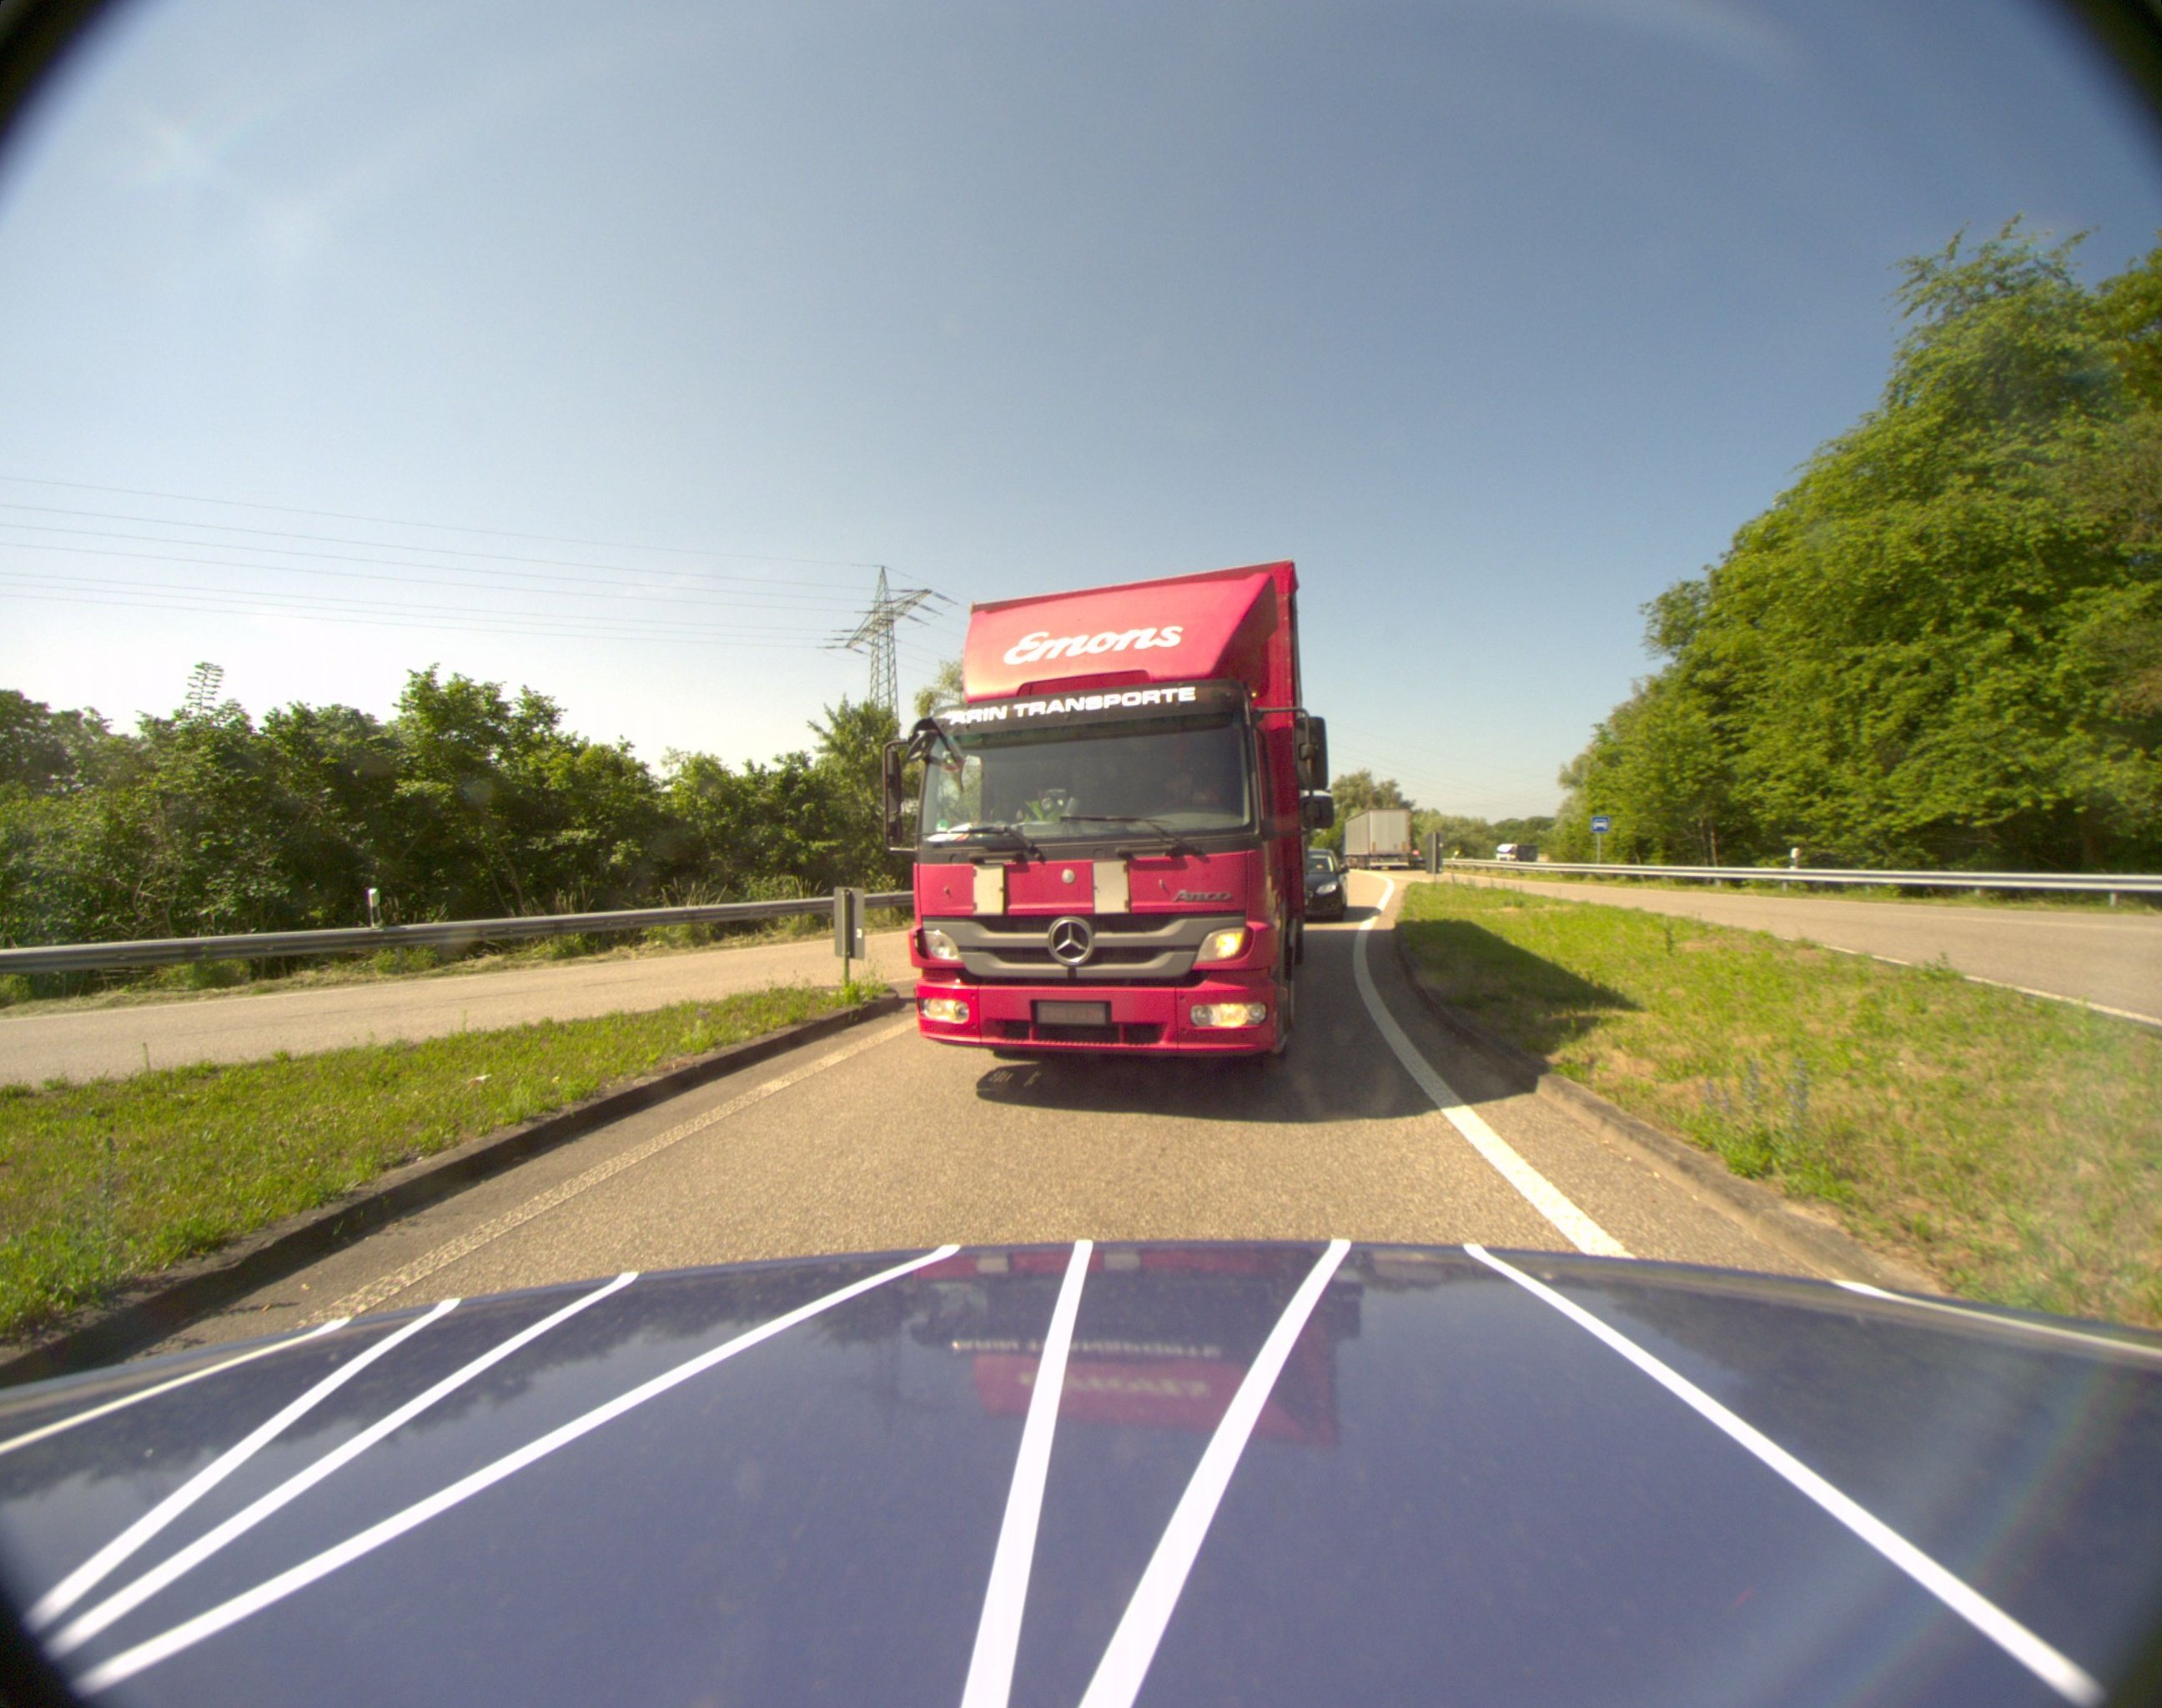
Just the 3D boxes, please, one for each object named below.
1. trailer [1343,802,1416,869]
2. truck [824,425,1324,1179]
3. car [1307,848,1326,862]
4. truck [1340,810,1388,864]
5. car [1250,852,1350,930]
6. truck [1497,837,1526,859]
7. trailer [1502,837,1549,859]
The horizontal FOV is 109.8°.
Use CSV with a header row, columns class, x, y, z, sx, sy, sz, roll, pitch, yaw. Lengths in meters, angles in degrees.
class,x,y,z,sx,sy,sz,roll,pitch,yaw
trailer,21.333,-1.254,55.241,2.954,4.243,13.995,1,1,13
truck,1.182,-0.268,8.496,2.686,3.640,9.273,-1,0,17
car,24.456,0.053,78.997,1.785,1.377,4.383,-2,0,17
truck,22.940,-1.371,61.934,2.935,4.222,5.738,1,1,13
car,4.839,0.713,16.430,1.785,1.406,4.005,-1,0,20
truck,85.543,-1.203,151.010,5.744,4.214,2.932,0,1,-36
trailer,90.688,-1.211,154.827,14.008,4.216,2.922,0,2,-36
